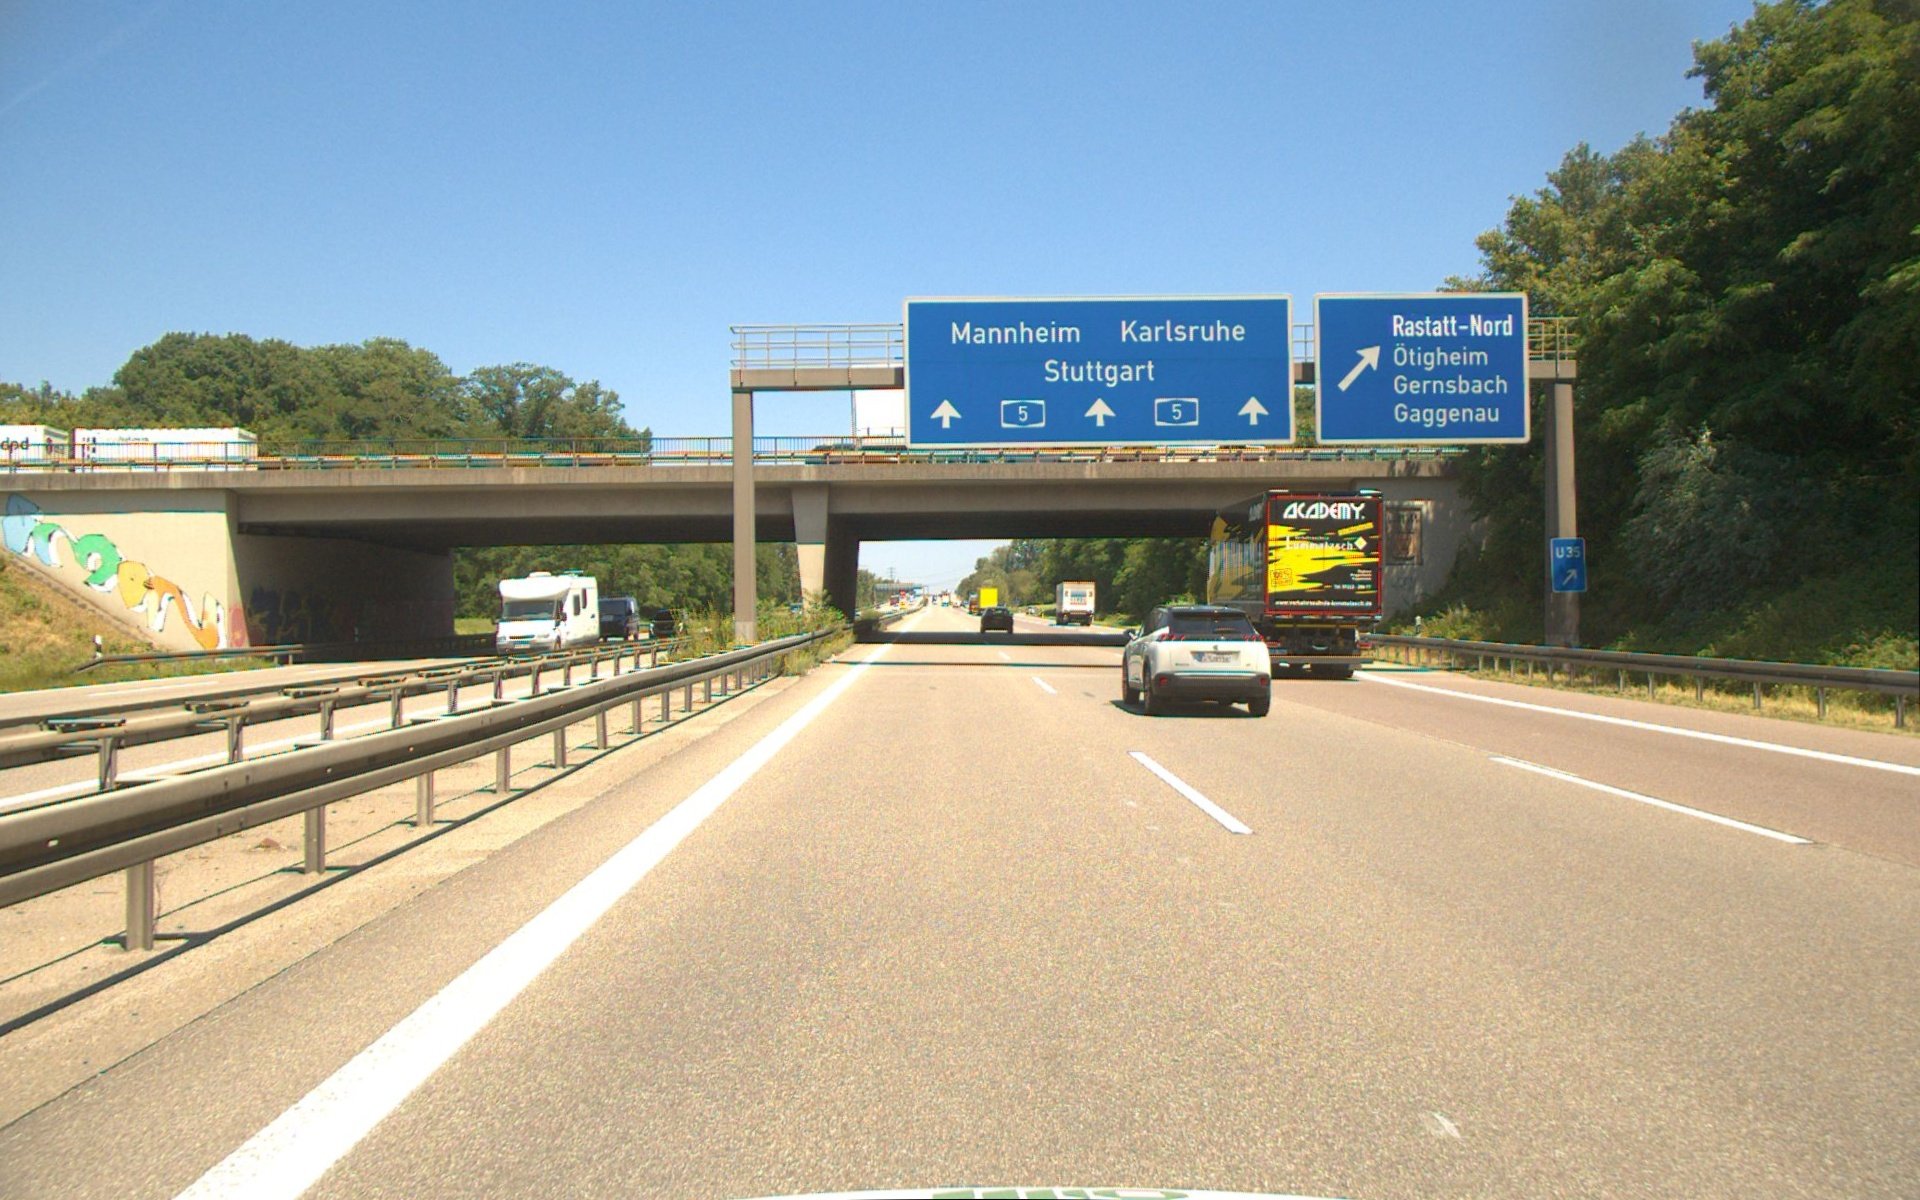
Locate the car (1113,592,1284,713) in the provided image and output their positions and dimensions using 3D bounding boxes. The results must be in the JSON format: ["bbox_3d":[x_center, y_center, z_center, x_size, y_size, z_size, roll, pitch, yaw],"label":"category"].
[{"bbox_3d":[3.470,0.734,24.900,1.790,1.636,4.807,0,0,-1],"label":"car"}]

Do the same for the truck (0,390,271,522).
[{"bbox_3d":[-41.363,-6.745,77.686,16.153,5.663,3.169,1,-1,-8],"label":"truck"}]

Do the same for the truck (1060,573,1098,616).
[{"bbox_3d":[9.740,-0.400,136.098,2.965,3.378,10.775,1,0,3],"label":"truck"}]

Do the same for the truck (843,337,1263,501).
[{"bbox_3d":[3.561,-6.986,64.912,16.143,5.663,3.171,1,-1,-6],"label":"truck"}]

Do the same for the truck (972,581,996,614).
[{"bbox_3d":[3.618,-0.316,253.196,3.308,4.966,15.084,1,0,0],"label":"truck"}]

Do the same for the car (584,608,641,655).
[{"bbox_3d":[-18.900,1.670,90.159,2.047,2.441,5.731,1,0,-2],"label":"car"}]

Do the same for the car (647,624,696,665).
[{"bbox_3d":[-13.790,2.117,79.305,1.656,1.847,4.712,1,0,-2],"label":"car"}]

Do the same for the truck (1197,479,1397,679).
[{"bbox_3d":[7.864,-0.390,40.194,2.913,4.107,10.984,2,-1,2],"label":"truck"}]

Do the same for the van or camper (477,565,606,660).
[{"bbox_3d":[-13.984,0.412,55.796,2.540,2.957,7.232,1,0,-1],"label":"van or camper"}]

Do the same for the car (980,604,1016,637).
[{"bbox_3d":[2.065,1.103,91.105,1.790,1.736,3.999,1,0,-1],"label":"car"}]
